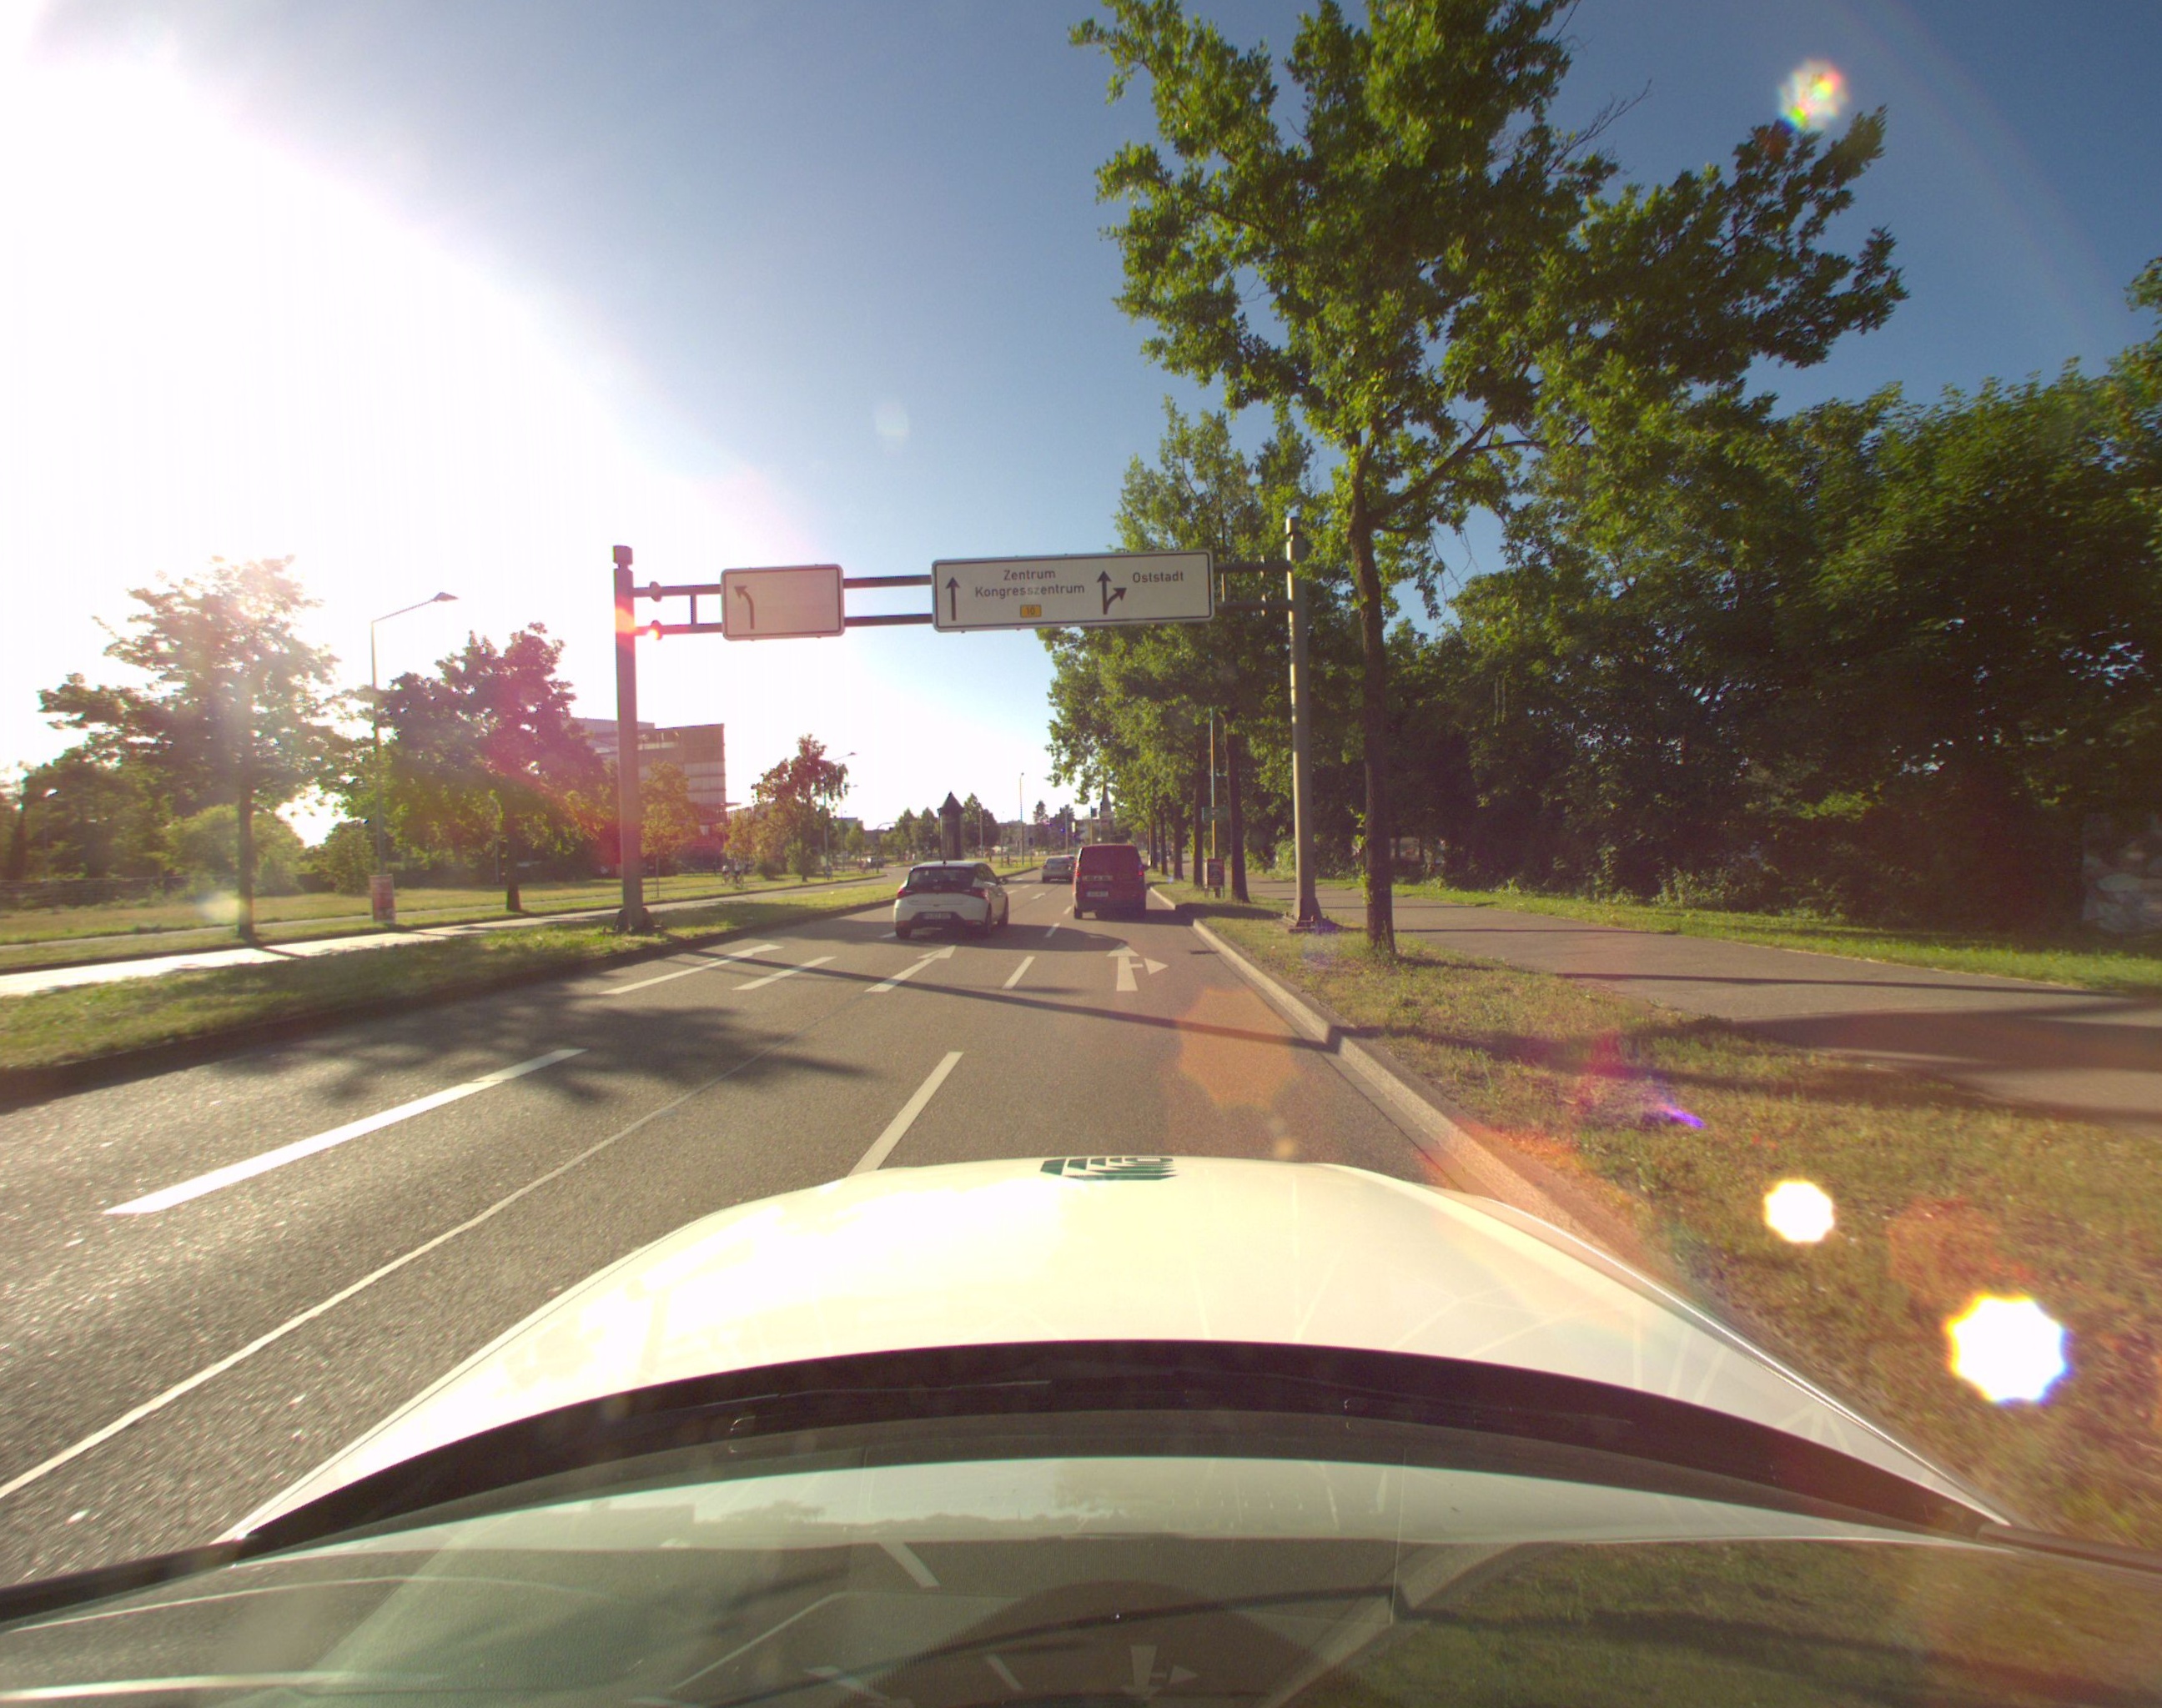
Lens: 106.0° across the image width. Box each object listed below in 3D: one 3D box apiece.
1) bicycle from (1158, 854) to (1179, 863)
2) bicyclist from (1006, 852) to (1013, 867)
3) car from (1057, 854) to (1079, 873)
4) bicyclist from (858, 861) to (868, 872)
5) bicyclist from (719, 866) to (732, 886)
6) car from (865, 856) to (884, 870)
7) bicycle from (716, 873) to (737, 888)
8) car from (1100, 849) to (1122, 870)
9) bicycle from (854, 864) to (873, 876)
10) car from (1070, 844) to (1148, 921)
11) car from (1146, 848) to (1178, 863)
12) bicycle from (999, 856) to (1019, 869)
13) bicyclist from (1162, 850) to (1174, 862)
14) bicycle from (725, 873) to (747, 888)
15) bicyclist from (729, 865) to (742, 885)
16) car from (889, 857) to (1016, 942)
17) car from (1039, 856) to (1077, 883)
[{"bbox_3d":[9.230,0.473,85.959,2.133,0.958,0.781,-2,0,-30],"label":"bicycle"},{"bbox_3d":[-7.370,0.543,83.859,0.601,1.468,0.517,-2,0,0],"label":"bicyclist"},{"bbox_3d":[-1.042,0.783,68.750,1.655,1.398,3.560,-2,1,2],"label":"car"},{"bbox_3d":[-22.478,1.256,84.099,0.729,1.107,0.607,-2,0,15],"label":"bicyclist"},{"bbox_3d":[-25.741,1.592,58.971,0.480,1.394,0.844,-2,0,1],"label":"bicyclist"},{"bbox_3d":[-28.990,1.216,114.336,1.643,1.876,3.964,-2,0,-27],"label":"car"},{"bbox_3d":[-25.724,1.938,59.104,0.485,1.003,2.097,-2,0,1],"label":"bicycle"},{"bbox_3d":[2.588,0.456,70.585,1.652,1.762,3.503,-2,0,5],"label":"car"},{"bbox_3d":[-22.458,1.660,84.101,1.714,1.107,0.607,-2,0,14],"label":"bicycle"},{"bbox_3d":[0.712,0.627,20.867,1.799,1.759,4.008,-1,1,2],"label":"car"},{"bbox_3d":[9.086,0.142,91.459,1.754,1.625,3.951,-1,0,38],"label":"car"},{"bbox_3d":[-7.379,0.873,83.864,1.952,1.166,0.517,-2,0,0],"label":"bicycle"},{"bbox_3d":[9.150,0.183,85.931,0.974,1.249,0.781,-2,0,-30],"label":"bicyclist"},{"bbox_3d":[-24.796,1.881,58.554,0.568,1.003,2.097,-2,0,1],"label":"bicycle"},{"bbox_3d":[-24.810,1.532,58.517,0.560,1.392,0.747,-2,0,1],"label":"bicyclist"},{"bbox_3d":[-2.476,0.826,16.681,1.771,1.408,4.077,-1,1,2],"label":"car"},{"bbox_3d":[-1.283,0.859,46.995,1.834,1.456,4.165,-1,1,2],"label":"car"}]
